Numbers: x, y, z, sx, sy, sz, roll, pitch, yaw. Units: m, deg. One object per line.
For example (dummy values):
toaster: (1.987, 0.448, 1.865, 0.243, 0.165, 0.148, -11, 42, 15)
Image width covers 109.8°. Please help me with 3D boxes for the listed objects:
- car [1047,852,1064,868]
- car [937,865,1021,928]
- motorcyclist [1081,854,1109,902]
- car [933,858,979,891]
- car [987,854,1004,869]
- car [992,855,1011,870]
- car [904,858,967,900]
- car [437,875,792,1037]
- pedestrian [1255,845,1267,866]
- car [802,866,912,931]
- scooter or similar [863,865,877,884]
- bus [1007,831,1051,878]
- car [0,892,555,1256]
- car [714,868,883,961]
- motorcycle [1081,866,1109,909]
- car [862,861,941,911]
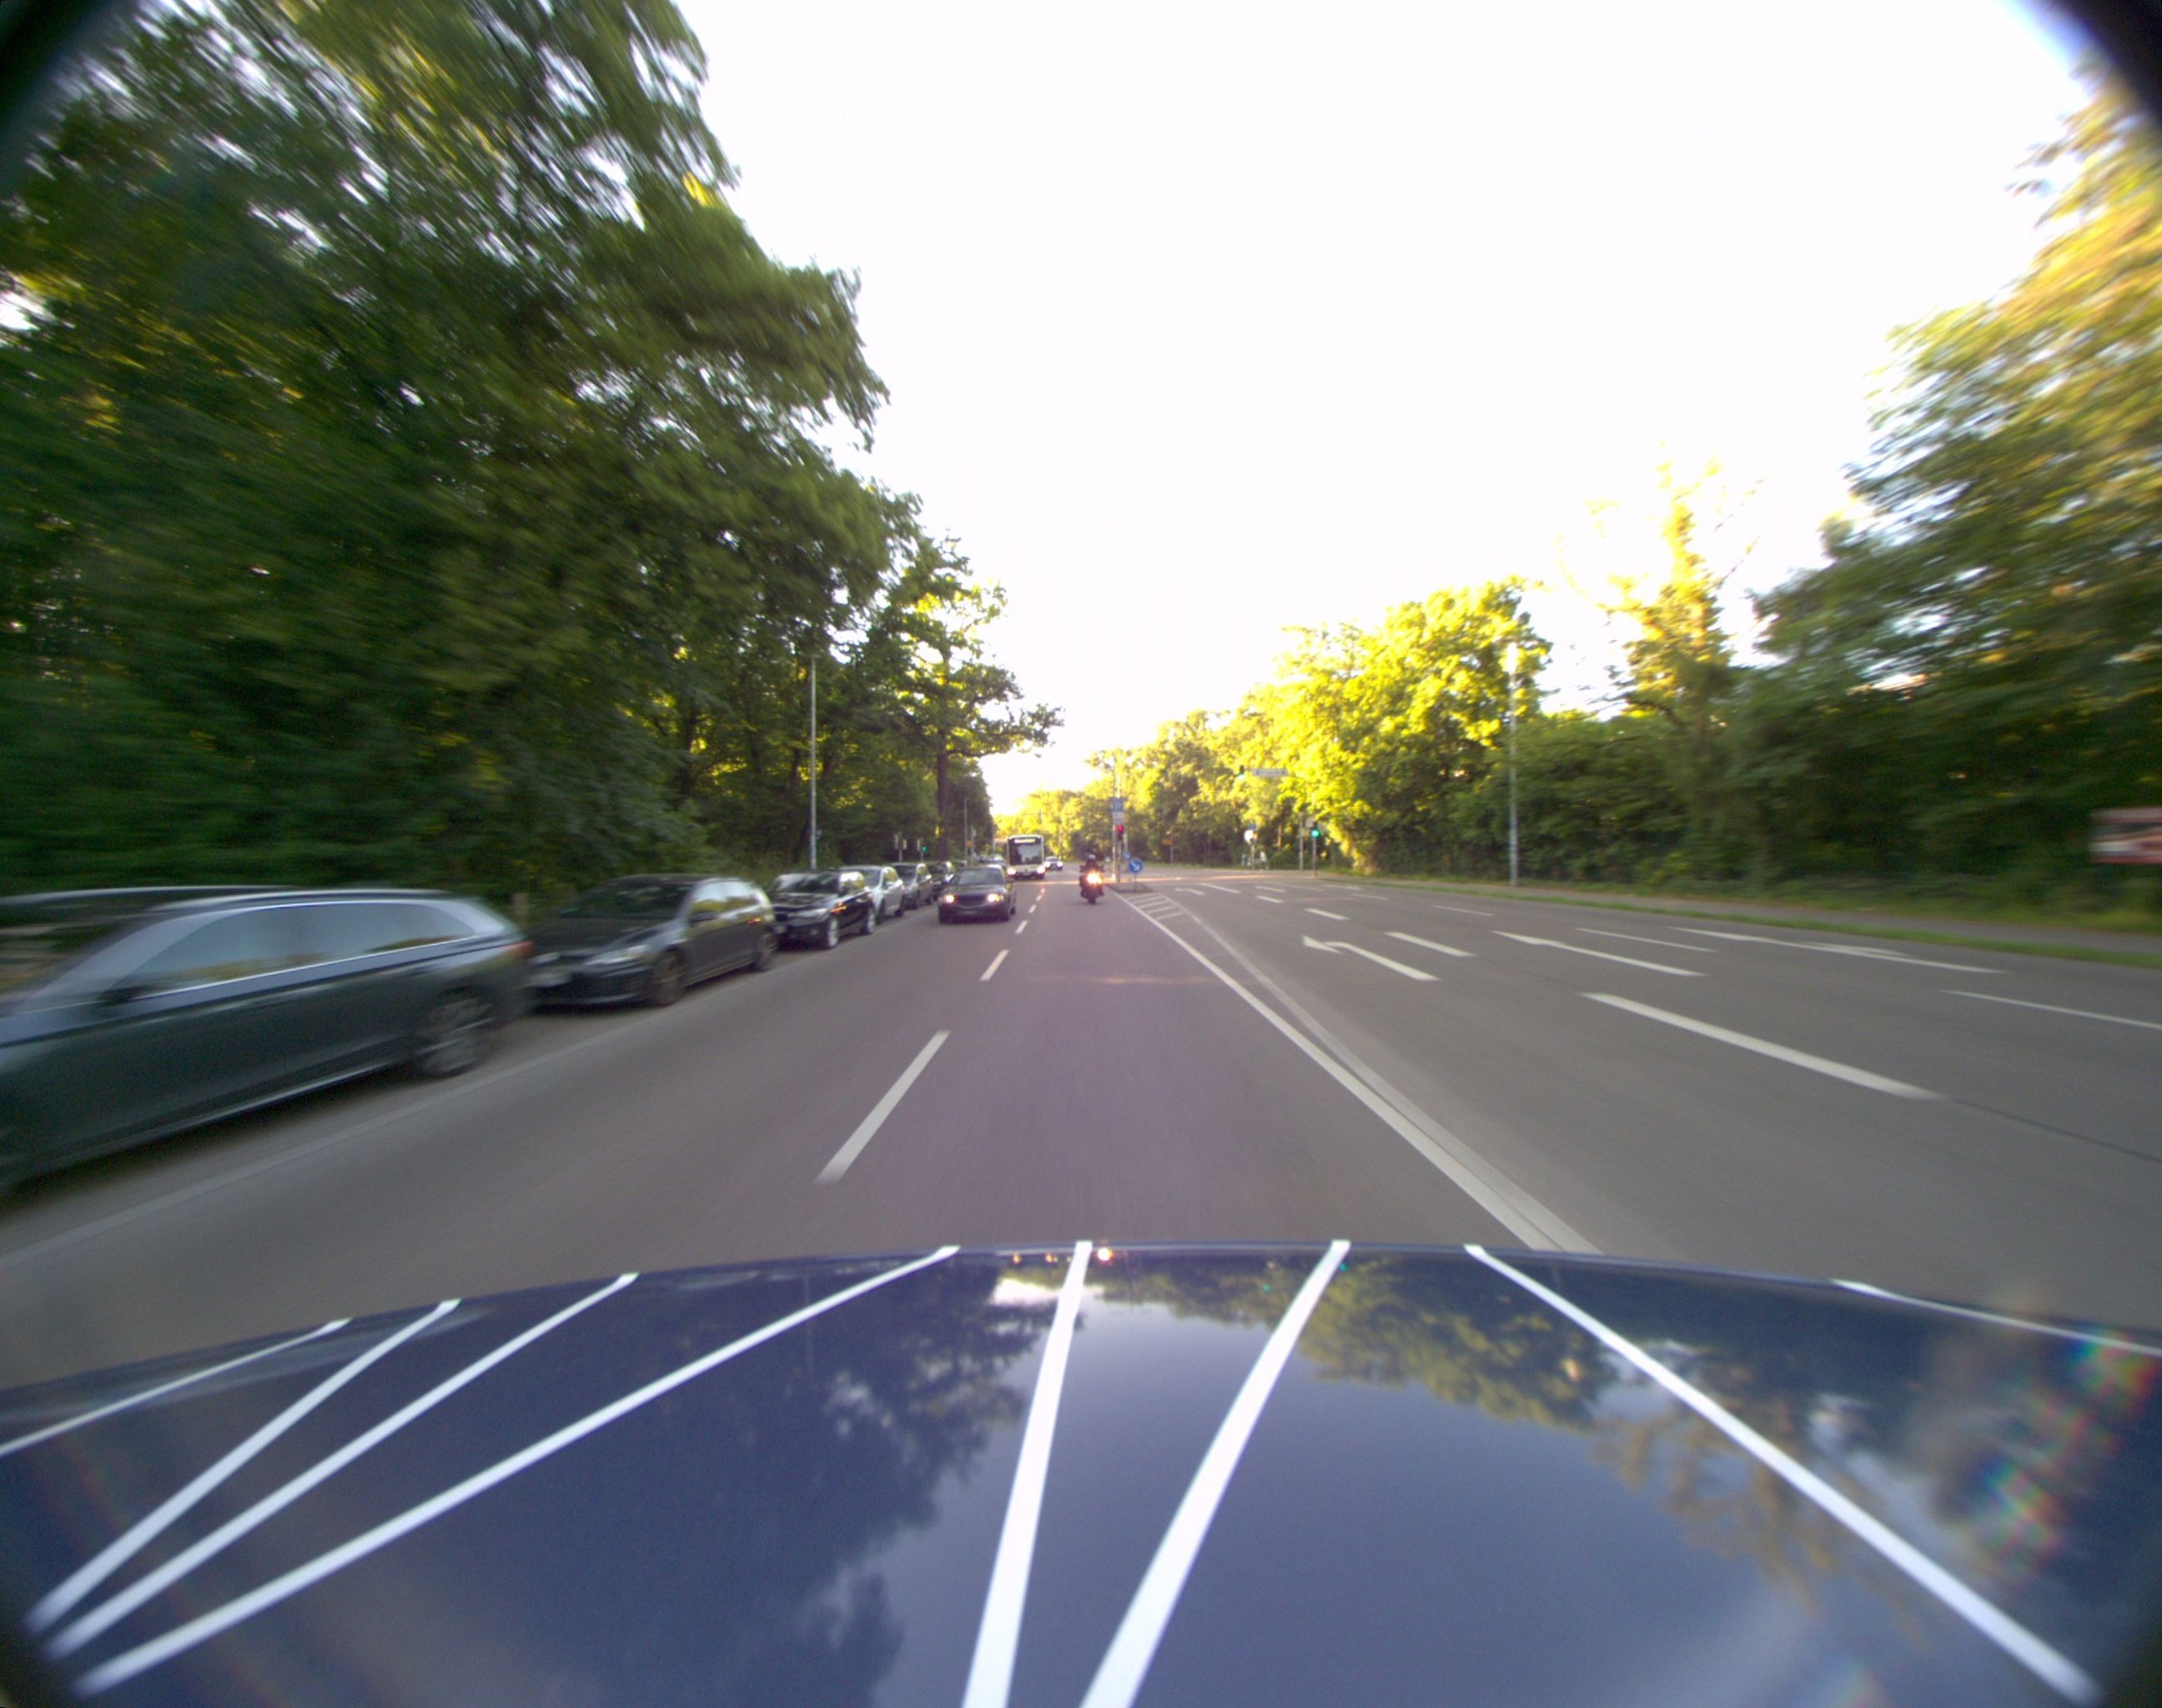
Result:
car: (-2.771, 0.621, 81.428, 1.679, 1.552, 3.992, -2, 1, -4)
car: (-2.575, 1.039, 20.016, 1.679, 1.351, 3.993, -2, 1, -1)
motorcyclist: (0.454, 0.742, 24.290, 0.830, 1.484, 1.024, -2, 1, 1)
car: (-6.065, 0.980, 37.181, 1.722, 1.460, 3.755, 0, 1, -1)
car: (-8.795, 0.791, 78.023, 1.723, 1.460, 3.870, 0, 1, -7)
car: (-8.727, 0.908, 83.747, 1.767, 1.460, 5.114, 0, 1, -3)
car: (-5.781, 0.949, 30.757, 1.722, 1.460, 4.986, 0, 1, -1)
car: (-5.403, 1.063, 9.658, 1.722, 1.403, 4.487, 0, 1, 0)
pedestrian: (15.031, 0.141, 63.450, 0.821, 1.701, 0.648, -2, 1, -40)
car: (-5.682, 1.079, 19.808, 1.722, 1.403, 4.123, 0, 1, -1)
scooter or similar: (-12.914, 1.233, 46.499, 0.379, 1.137, 1.223, -1, 1, 4)
bus: (-3.876, 0.007, 56.993, 2.813, 3.030, 12.881, -2, 0, -4)
car: (-5.615, 1.068, 4.320, 1.722, 1.403, 4.906, 0, 1, 2)
car: (-5.298, 1.053, 14.934, 1.722, 1.403, 4.486, 0, 1, -1)
motorcycle: (0.448, 1.038, 24.298, 0.830, 1.212, 2.603, -2, 0, 1)
car: (-5.898, 0.997, 25.386, 1.722, 1.460, 4.201, 0, 1, -1)
